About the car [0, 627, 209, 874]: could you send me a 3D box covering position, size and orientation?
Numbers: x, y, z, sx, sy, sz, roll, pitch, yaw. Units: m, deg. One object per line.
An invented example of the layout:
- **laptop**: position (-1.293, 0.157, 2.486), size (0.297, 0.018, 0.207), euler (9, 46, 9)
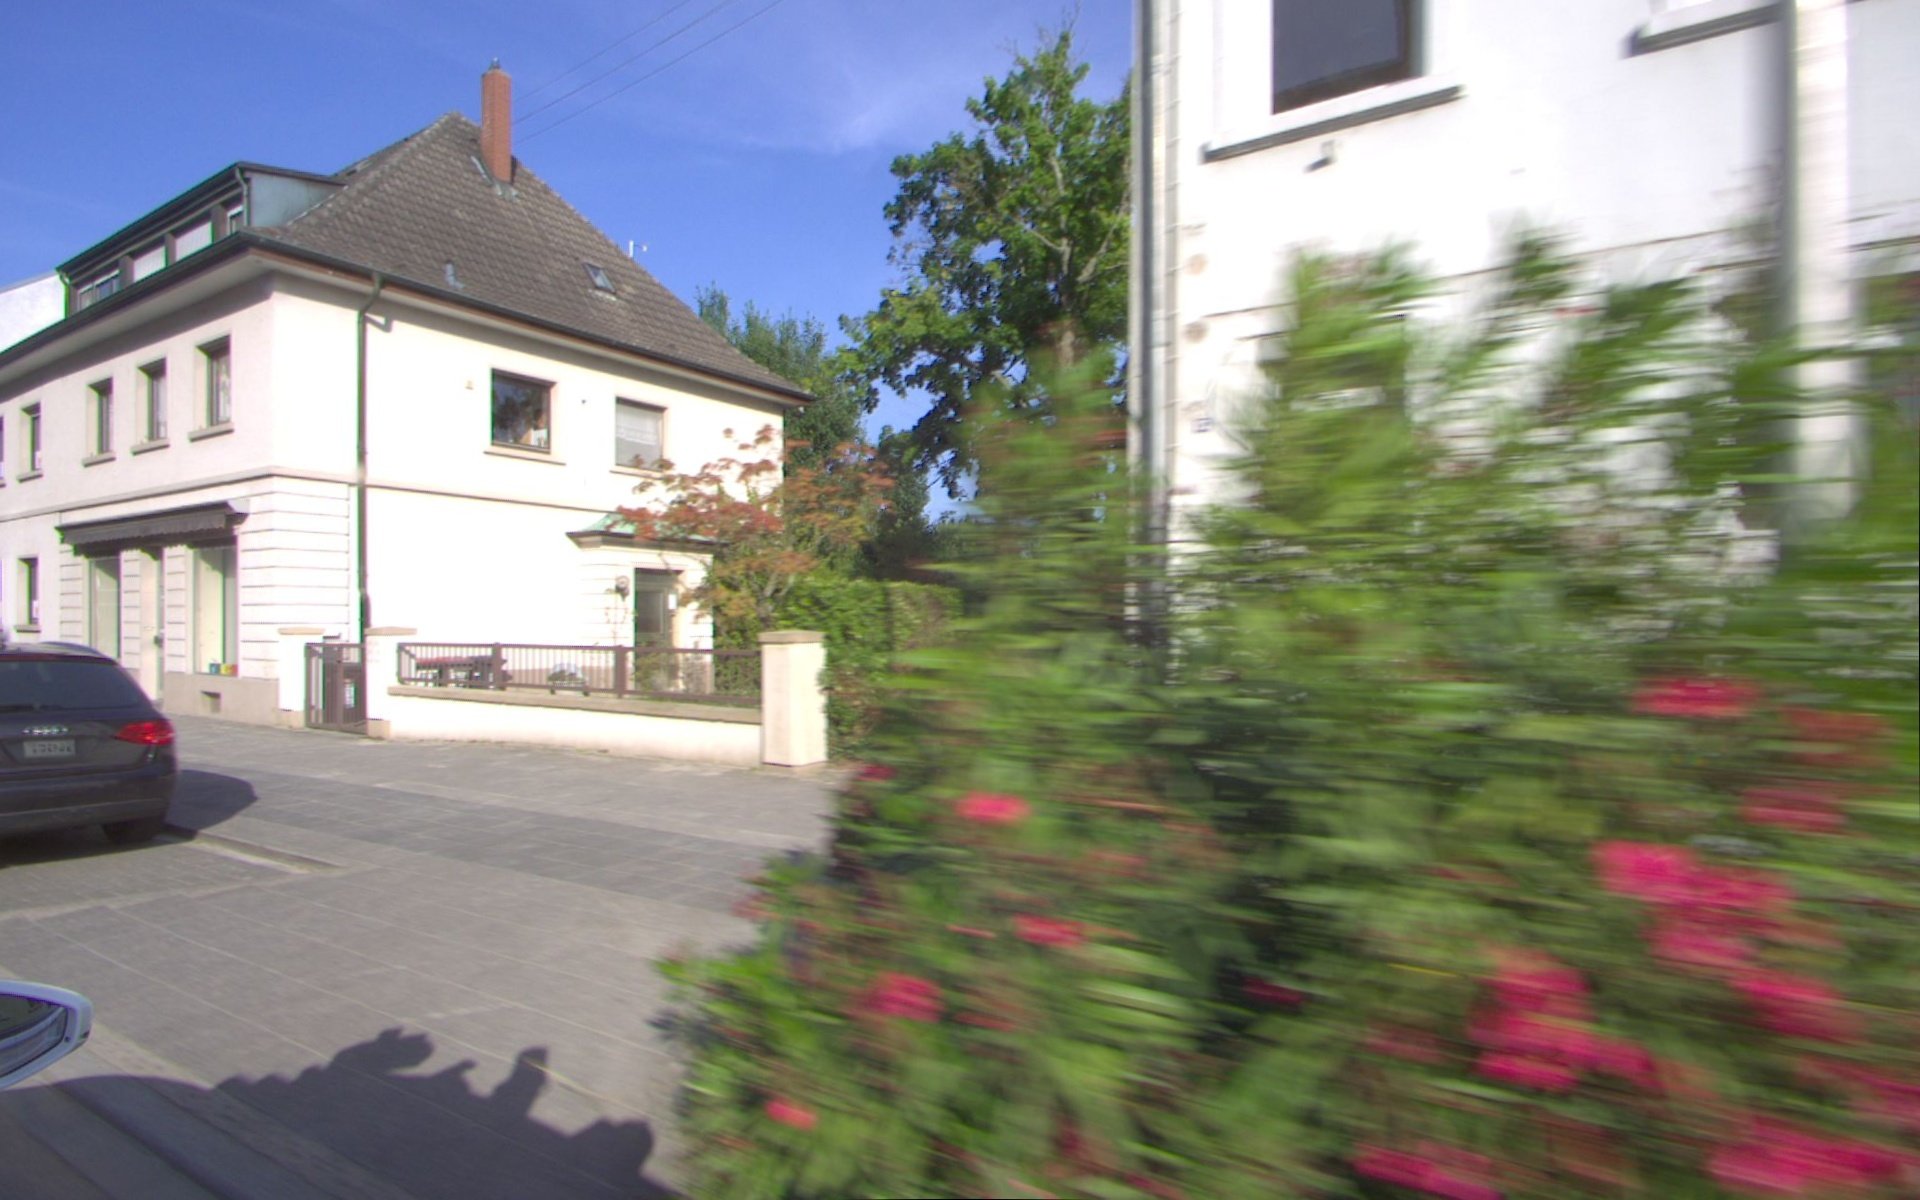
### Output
- **car**: position (-7.479, 0.929, 7.269), size (4.431, 1.438, 1.776), euler (-1, -1, 32)
